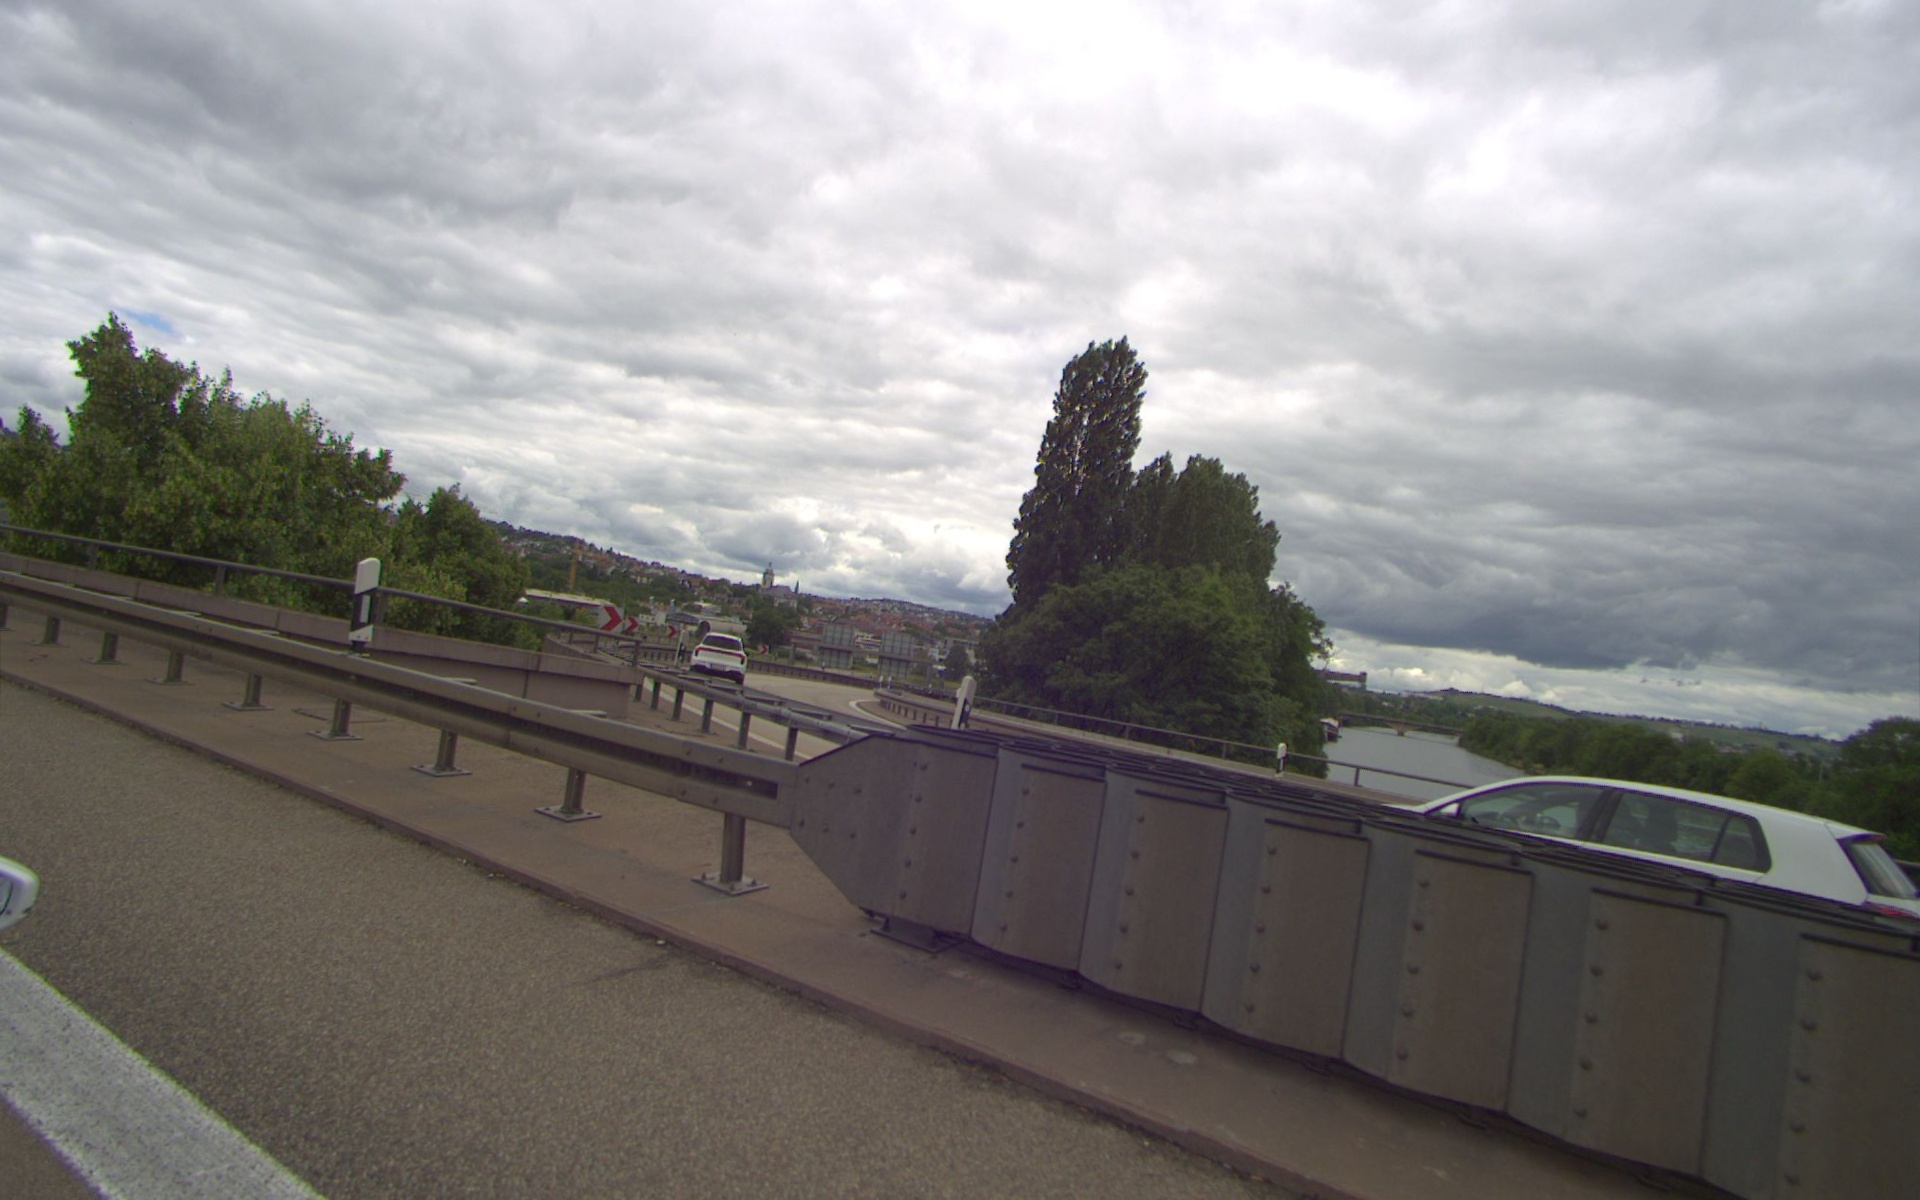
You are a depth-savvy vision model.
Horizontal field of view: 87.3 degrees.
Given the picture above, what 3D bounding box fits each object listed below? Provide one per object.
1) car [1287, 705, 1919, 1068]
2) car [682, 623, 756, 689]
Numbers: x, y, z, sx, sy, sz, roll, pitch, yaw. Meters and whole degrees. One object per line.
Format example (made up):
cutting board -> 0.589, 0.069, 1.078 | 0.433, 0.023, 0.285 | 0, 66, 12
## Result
car -> 4.782, 1.891, 7.583 | 1.728, 1.495, 3.956 | 13, -6, -40
car -> -8.501, 1.907, 35.207 | 1.973, 1.799, 3.987 | 11, -3, -17
